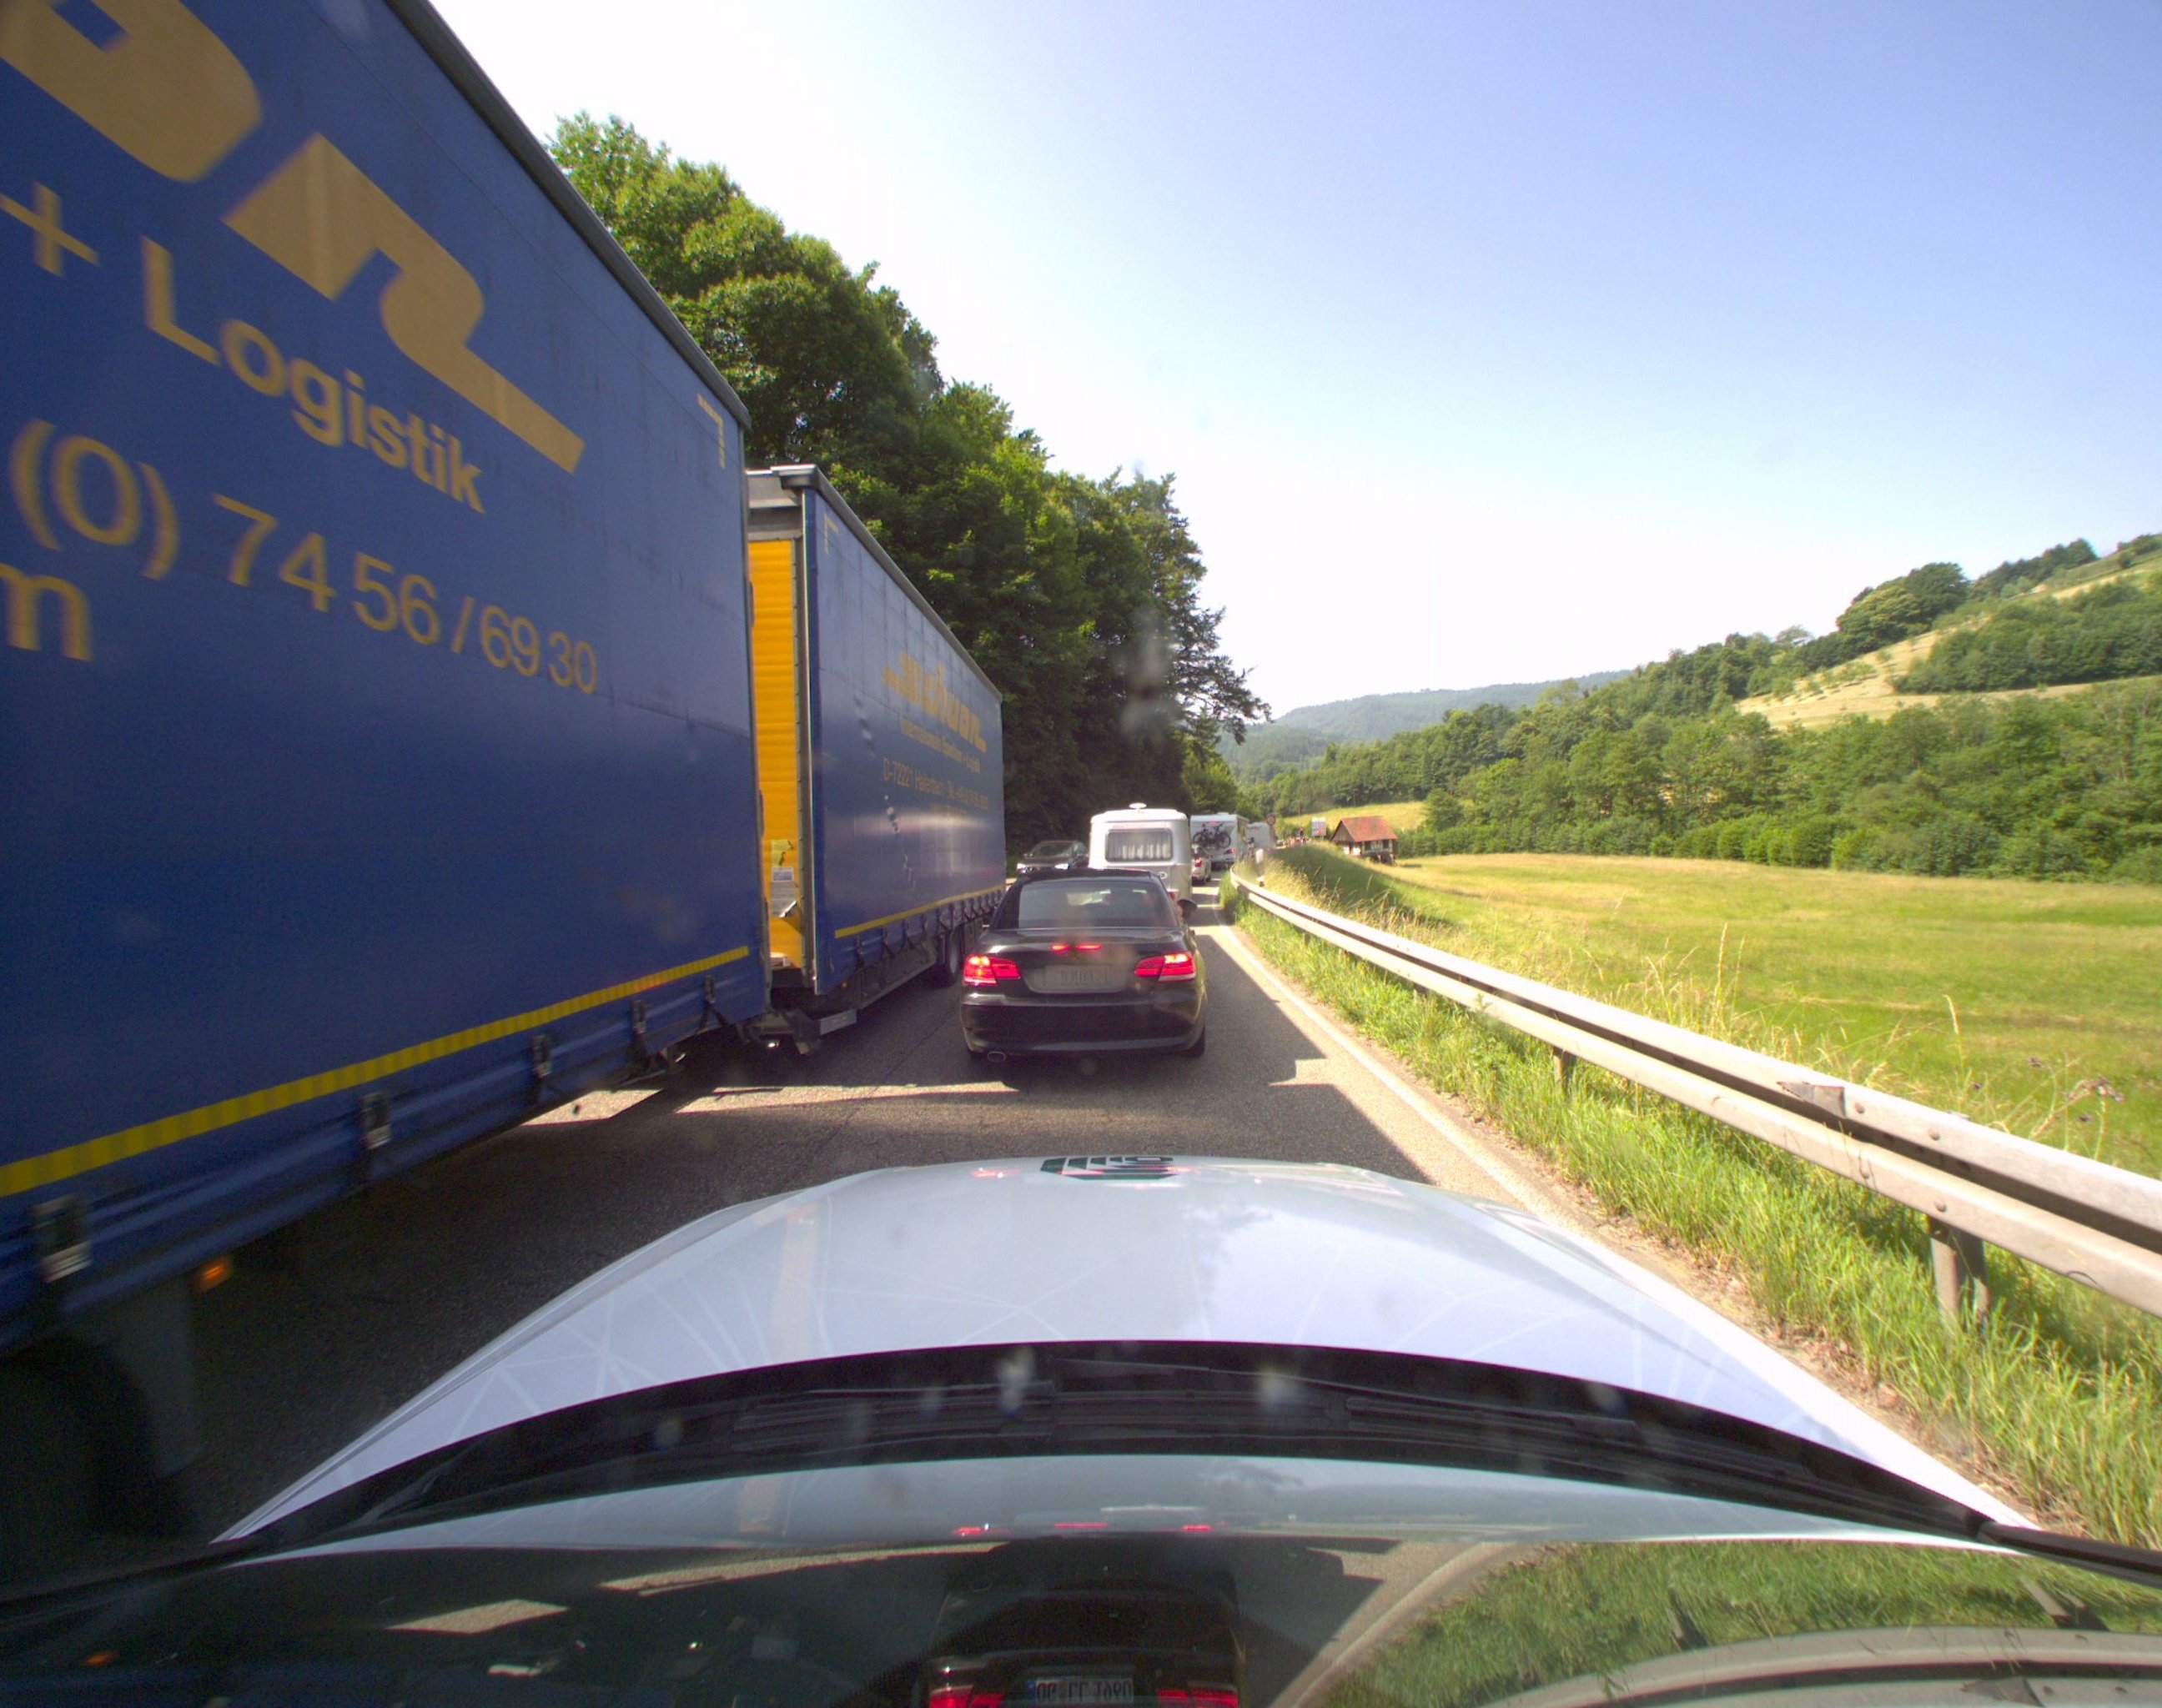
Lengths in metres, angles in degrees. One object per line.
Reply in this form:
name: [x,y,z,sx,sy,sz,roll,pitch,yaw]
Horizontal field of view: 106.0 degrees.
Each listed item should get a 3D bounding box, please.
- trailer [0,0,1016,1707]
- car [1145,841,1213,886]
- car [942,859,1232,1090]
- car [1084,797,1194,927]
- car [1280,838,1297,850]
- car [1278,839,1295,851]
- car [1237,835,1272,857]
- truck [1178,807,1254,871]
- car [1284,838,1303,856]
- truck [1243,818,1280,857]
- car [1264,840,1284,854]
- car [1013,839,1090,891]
trailer: [-2.971,-0.649,6.072,3.247,4.417,15.322,-1,1,2]
car: [3.627,0.286,29.477,1.979,1.484,4.015,1,1,13]
car: [0.171,0.758,6.886,1.763,1.335,3.771,-1,1,4]
car: [1.360,0.106,17.416,1.983,2.353,4.924,-1,1,7]
car: [28.634,-1.353,112.216,1.977,1.575,4.020,-1,0,20]
car: [30.741,-1.372,121.587,1.977,1.684,4.020,0,-1,20]
car: [12.124,-0.573,56.828,1.772,1.464,4.021,1,2,20]
truck: [7.050,-0.797,41.767,2.768,2.997,6.901,1,2,18]
car: [24.689,-0.786,94.597,1.979,1.925,4.016,2,0,15]
truck: [14.041,-1.217,63.113,2.220,2.804,6.260,-1,0,17]
car: [20.241,-0.712,85.314,1.892,1.486,4.016,0,0,15]
car: [-0.891,0.308,27.106,1.811,1.584,4.093,-1,1,9]
